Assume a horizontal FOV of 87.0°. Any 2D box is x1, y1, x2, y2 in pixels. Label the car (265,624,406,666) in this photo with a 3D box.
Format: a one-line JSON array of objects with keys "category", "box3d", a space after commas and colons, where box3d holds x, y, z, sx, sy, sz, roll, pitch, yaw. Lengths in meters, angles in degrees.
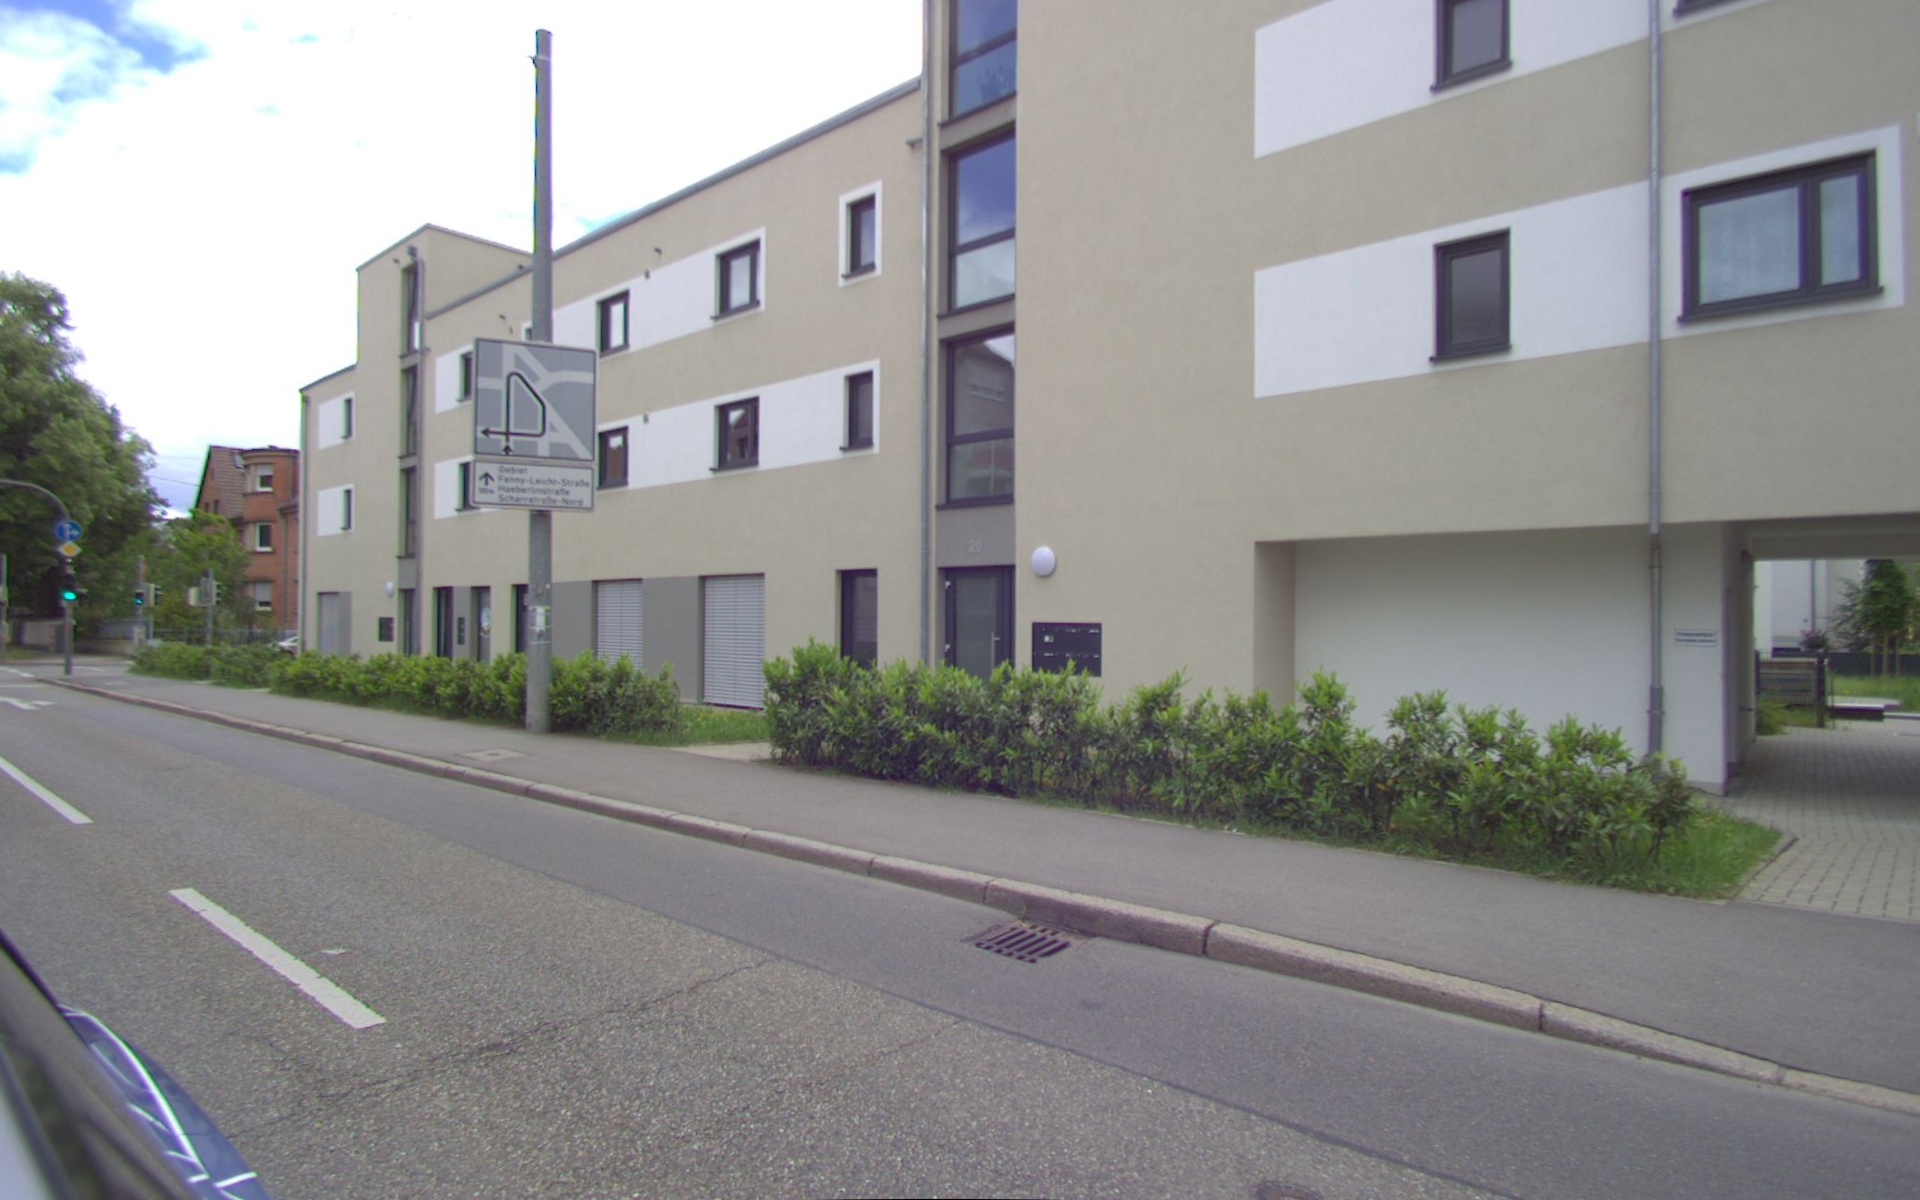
[{"category": "car", "box3d": [-26.942, 1.907, 43.839, 2.171, 1.698, 4.756, -1, -1, 36]}]
